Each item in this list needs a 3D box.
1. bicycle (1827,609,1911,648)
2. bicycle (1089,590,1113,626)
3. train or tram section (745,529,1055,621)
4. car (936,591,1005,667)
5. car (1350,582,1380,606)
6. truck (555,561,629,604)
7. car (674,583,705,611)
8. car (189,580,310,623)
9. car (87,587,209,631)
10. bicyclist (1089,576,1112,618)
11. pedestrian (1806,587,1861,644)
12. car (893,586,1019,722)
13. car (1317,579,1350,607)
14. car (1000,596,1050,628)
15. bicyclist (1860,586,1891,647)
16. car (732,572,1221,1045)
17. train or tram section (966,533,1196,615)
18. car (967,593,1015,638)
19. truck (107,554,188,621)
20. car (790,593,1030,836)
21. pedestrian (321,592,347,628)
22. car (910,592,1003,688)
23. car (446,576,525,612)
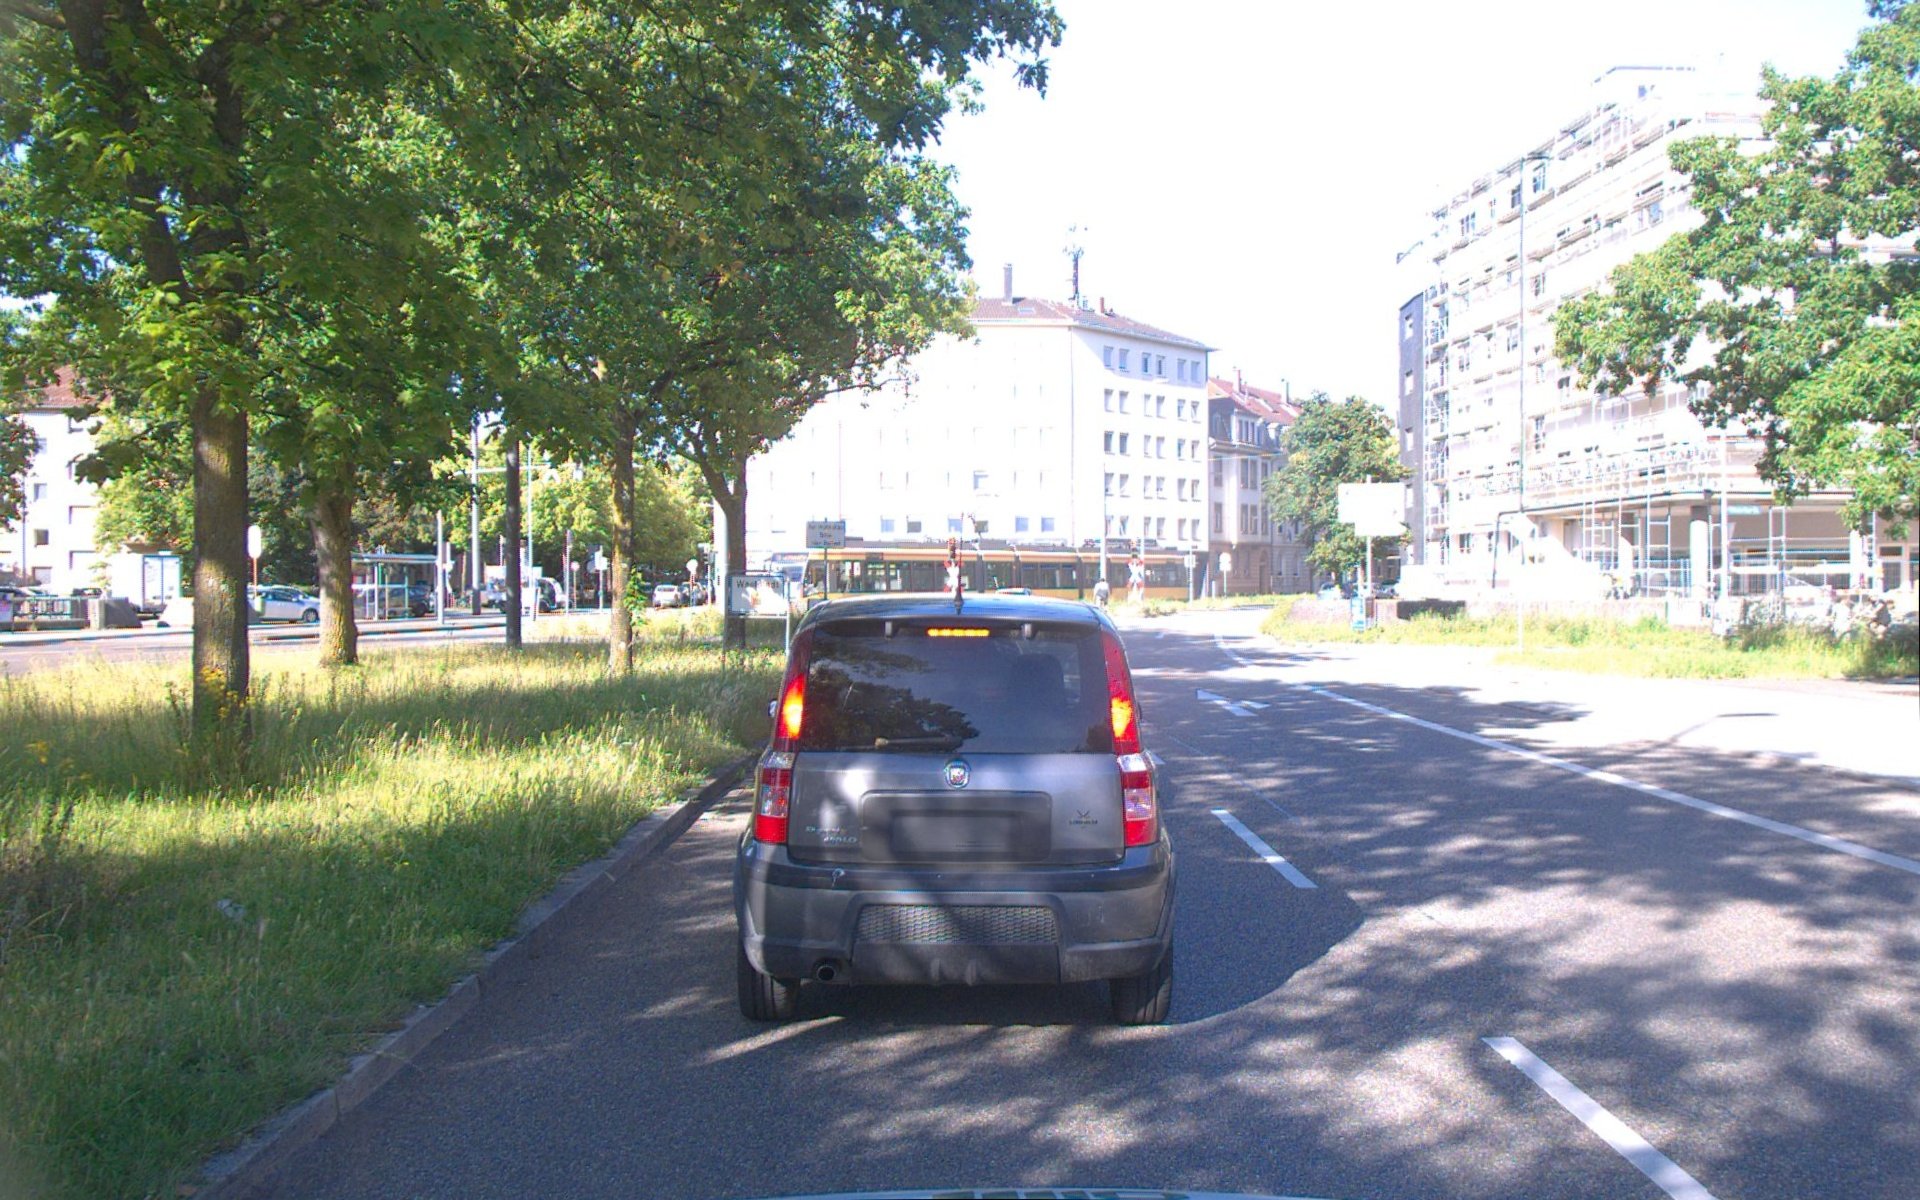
[{"bbox_3d":[22.777,0.708,41.470,1.751,0.961,0.560,0,0,14],"label":"bicycle"},{"bbox_3d":[4.967,0.289,58.291,0.693,1.219,2.521,1,0,2],"label":"bicycle"},{"bbox_3d":[-1.967,-1.081,72.853,3.237,3.574,19.332,0,1,33],"label":"train or tram section"},{"bbox_3d":[0.176,0.554,33.862,1.328,1.475,3.265,0,0,-1],"label":"car"},{"bbox_3d":[23.116,-0.334,94.380,1.495,1.337,3.289,0,1,17],"label":"car"},{"bbox_3d":[-28.356,-1.353,127.371,5.371,3.224,2.341,0,0,28],"label":"truck"},{"bbox_3d":[-20.151,-0.242,123.287,1.954,2.049,3.996,0,1,-5],"label":"car"},{"bbox_3d":[-29.954,0.047,69.786,1.961,1.713,4.302,0,1,38],"label":"car"},{"bbox_3d":[-32.667,0.337,66.598,1.961,1.713,3.983,0,1,38],"label":"car"},{"bbox_3d":[4.948,-0.094,58.355,0.726,1.463,0.845,1,0,1],"label":"bicyclist"},{"bbox_3d":[23.026,0.397,43.595,0.877,1.472,0.962,0,0,-15],"label":"pedestrian"},{"bbox_3d":[-0.074,0.601,20.674,1.434,1.534,3.504,0,1,-1],"label":"car"},{"bbox_3d":[20.506,-0.390,90.713,1.646,1.475,3.574,0,1,15],"label":"car"},{"bbox_3d":[2.284,0.402,57.703,1.118,1.083,2.723,0,1,17],"label":"car"},{"bbox_3d":[22.917,0.403,41.410,0.571,1.519,0.551,0,0,14],"label":"bicyclist"},{"bbox_3d":[0.029,0.657,7.413,1.595,1.534,3.999,0,1,-1],"label":"car"},{"bbox_3d":[6.959,-1.337,87.353,3.235,3.836,20.766,0,1,30],"label":"train or tram section"},{"bbox_3d":[0.918,0.442,49.608,1.328,1.304,2.875,0,1,-1],"label":"car"},{"bbox_3d":[-35.743,-0.554,72.692,3.932,2.854,1.987,0,1,44],"label":"truck"},{"bbox_3d":[-0.321,0.678,11.629,1.434,1.425,3.393,0,1,-1],"label":"car"},{"bbox_3d":[-29.251,0.459,77.332,0.904,1.636,0.794,0,0,38],"label":"pedestrian"},{"bbox_3d":[-0.082,0.607,27.296,1.434,1.449,3.381,0,1,-1],"label":"car"},{"bbox_3d":[-27.968,-0.359,97.556,4.093,2.049,1.930,0,0,-3],"label":"car"}]
